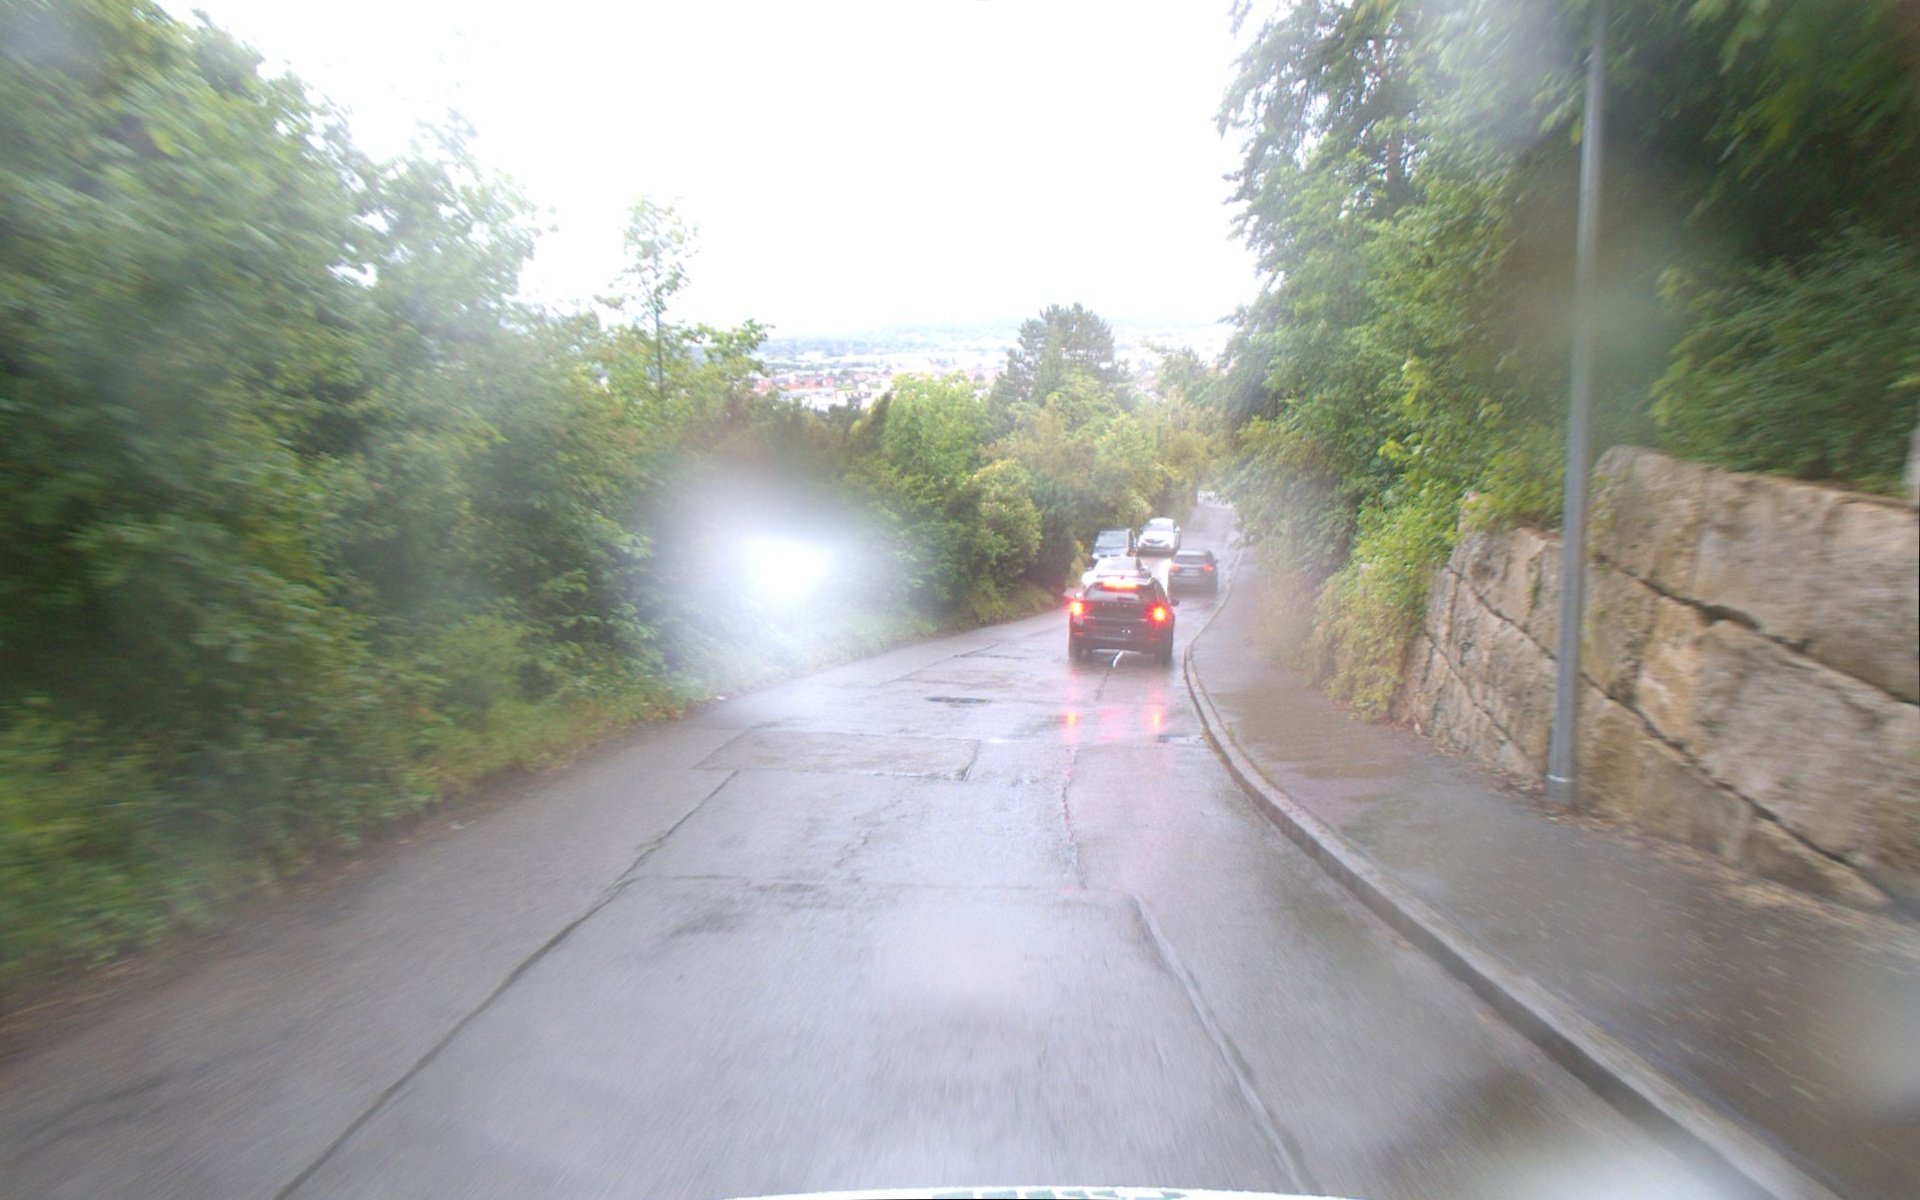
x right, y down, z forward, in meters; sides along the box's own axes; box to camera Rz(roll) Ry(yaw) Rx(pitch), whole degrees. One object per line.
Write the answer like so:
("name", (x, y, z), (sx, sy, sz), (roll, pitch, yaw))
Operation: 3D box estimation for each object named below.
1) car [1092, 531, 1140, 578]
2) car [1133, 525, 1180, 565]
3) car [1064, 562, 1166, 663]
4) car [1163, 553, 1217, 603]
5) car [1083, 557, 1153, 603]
("car", (6.903, -2.041, 73.000), (1.653, 1.813, 4.238), (1, 5, 12))
("car", (9.858, -2.774, 82.632), (2.004, 1.627, 4.236), (3, 6, 10))
("car", (2.835, 0.161, 29.644), (1.663, 1.475, 4.005), (1, 4, 8))
("car", (8.701, -0.819, 62.294), (1.823, 1.773, 4.003), (2, 0, 10))
("car", (5.750, -0.685, 59.746), (1.900, 1.548, 4.583), (2, 0, 13))
